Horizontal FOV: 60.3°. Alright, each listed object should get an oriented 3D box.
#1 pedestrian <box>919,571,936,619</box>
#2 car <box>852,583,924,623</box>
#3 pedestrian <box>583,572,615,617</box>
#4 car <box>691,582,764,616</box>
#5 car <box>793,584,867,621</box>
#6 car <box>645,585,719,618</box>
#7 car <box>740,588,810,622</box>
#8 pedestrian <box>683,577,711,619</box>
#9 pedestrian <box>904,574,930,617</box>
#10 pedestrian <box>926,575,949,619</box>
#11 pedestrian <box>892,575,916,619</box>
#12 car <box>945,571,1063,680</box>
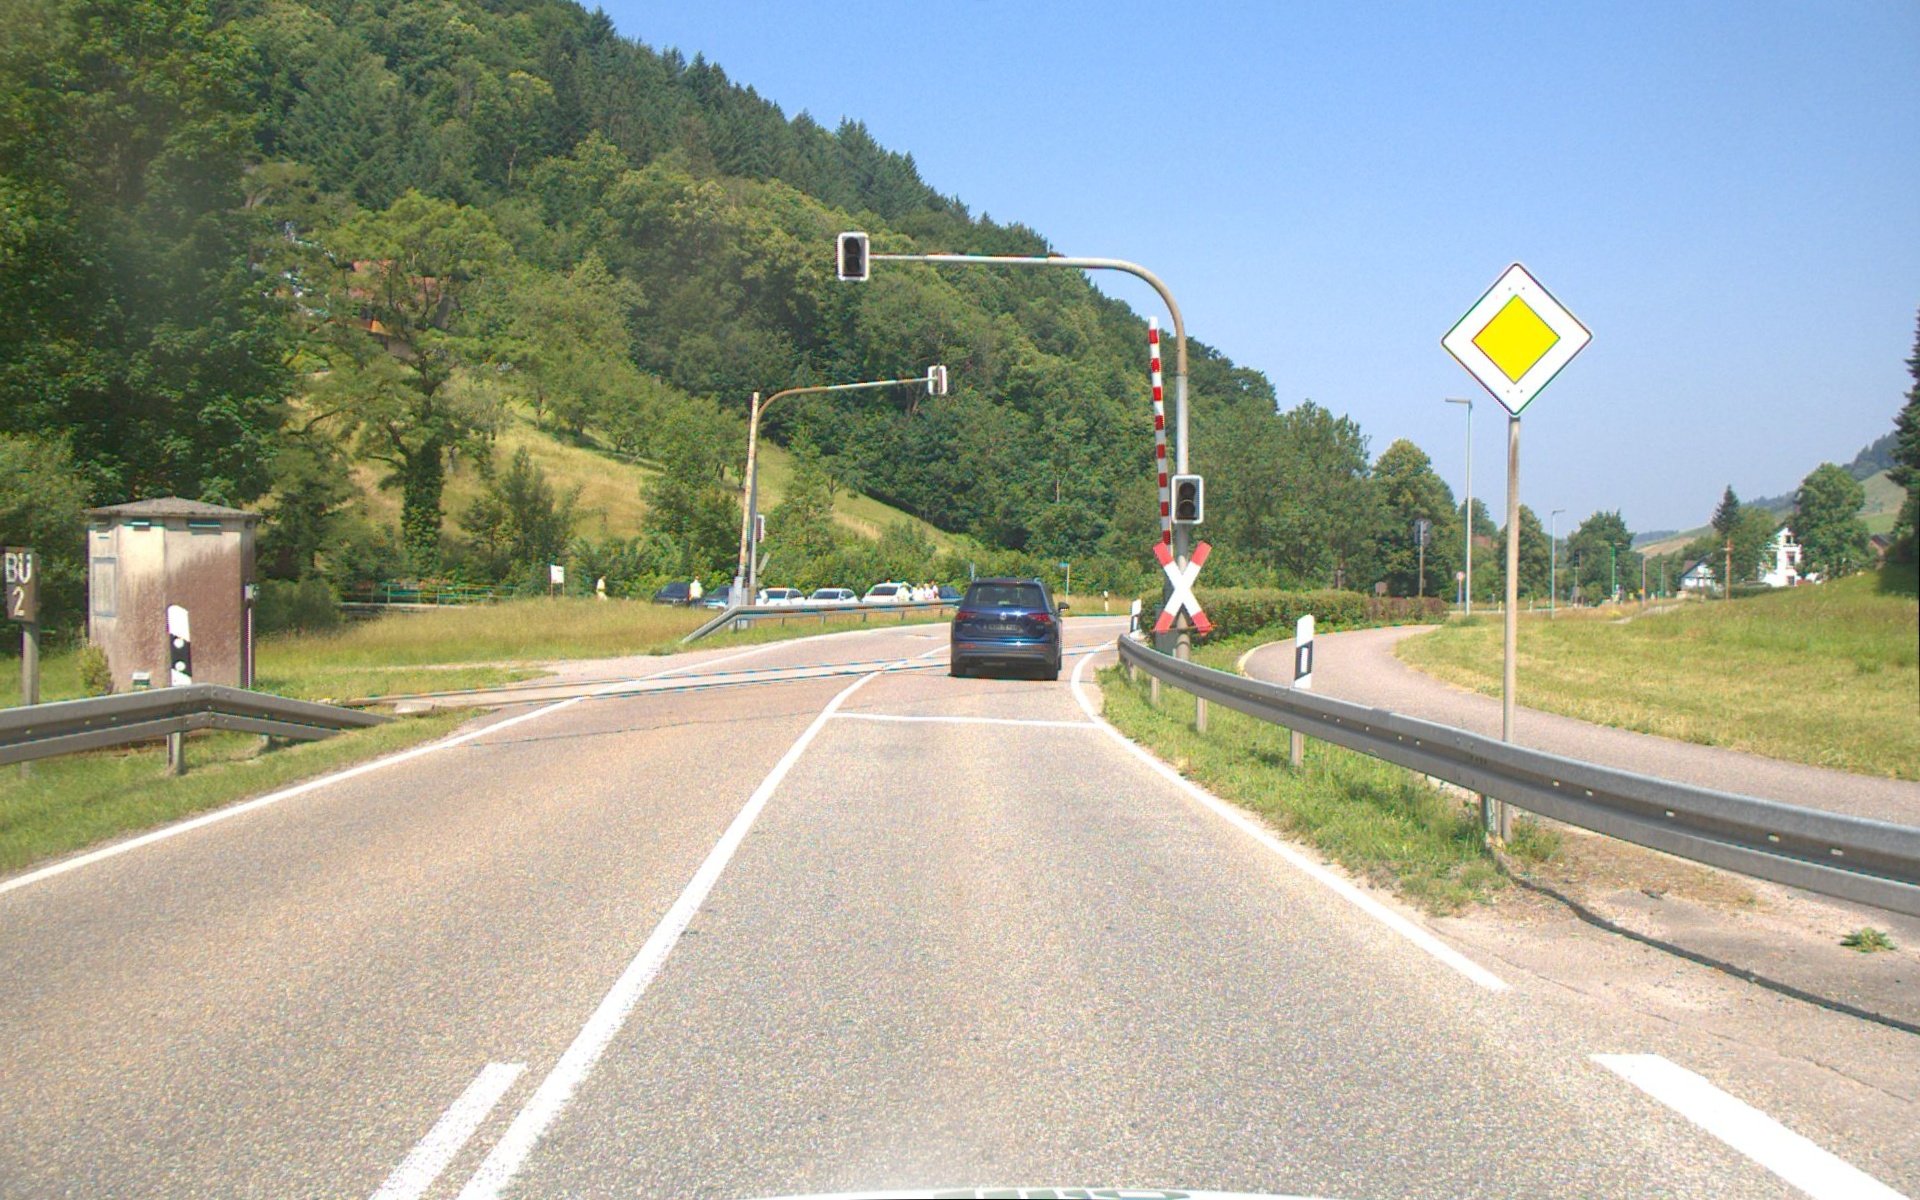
[{"bbox_3d":[-1.384,-0.211,70.441,0.646,1.989,0.533,-1,0,5],"label":"pedestrian"},{"bbox_3d":[-3.345,0.126,78.113,1.832,1.813,4.774,1,0,18],"label":"car"},{"bbox_3d":[-16.435,-0.243,75.298,1.107,2.004,0.858,-1,-1,37],"label":"pedestrian"},{"bbox_3d":[-11.108,-0.035,79.391,1.951,1.527,4.525,2,0,13],"label":"car"},{"bbox_3d":[-6.114,0.100,78.433,1.951,1.670,4.905,-1,0,15],"label":"car"},{"bbox_3d":[-13.447,0.076,80.134,1.951,1.527,4.525,-1,0,13],"label":"car"},{"bbox_3d":[-8.756,0.232,78.654,1.951,1.527,4.525,-1,0,13],"label":"car"},{"bbox_3d":[-11.614,-0.077,73.036,0.933,1.826,1.001,-1,0,12],"label":"pedestrian"},{"bbox_3d":[-1.844,-0.190,71.307,0.757,1.827,0.789,-1,-1,42],"label":"pedestrian"},{"bbox_3d":[-0.956,-0.139,70.908,0.764,1.891,0.639,0,-1,-41],"label":"pedestrian"},{"bbox_3d":[-2.389,-0.138,70.225,0.772,1.874,0.698,0,0,26],"label":"pedestrian"},{"bbox_3d":[0.829,0.399,28.312,1.814,1.678,4.142,2,0,4],"label":"car"}]
